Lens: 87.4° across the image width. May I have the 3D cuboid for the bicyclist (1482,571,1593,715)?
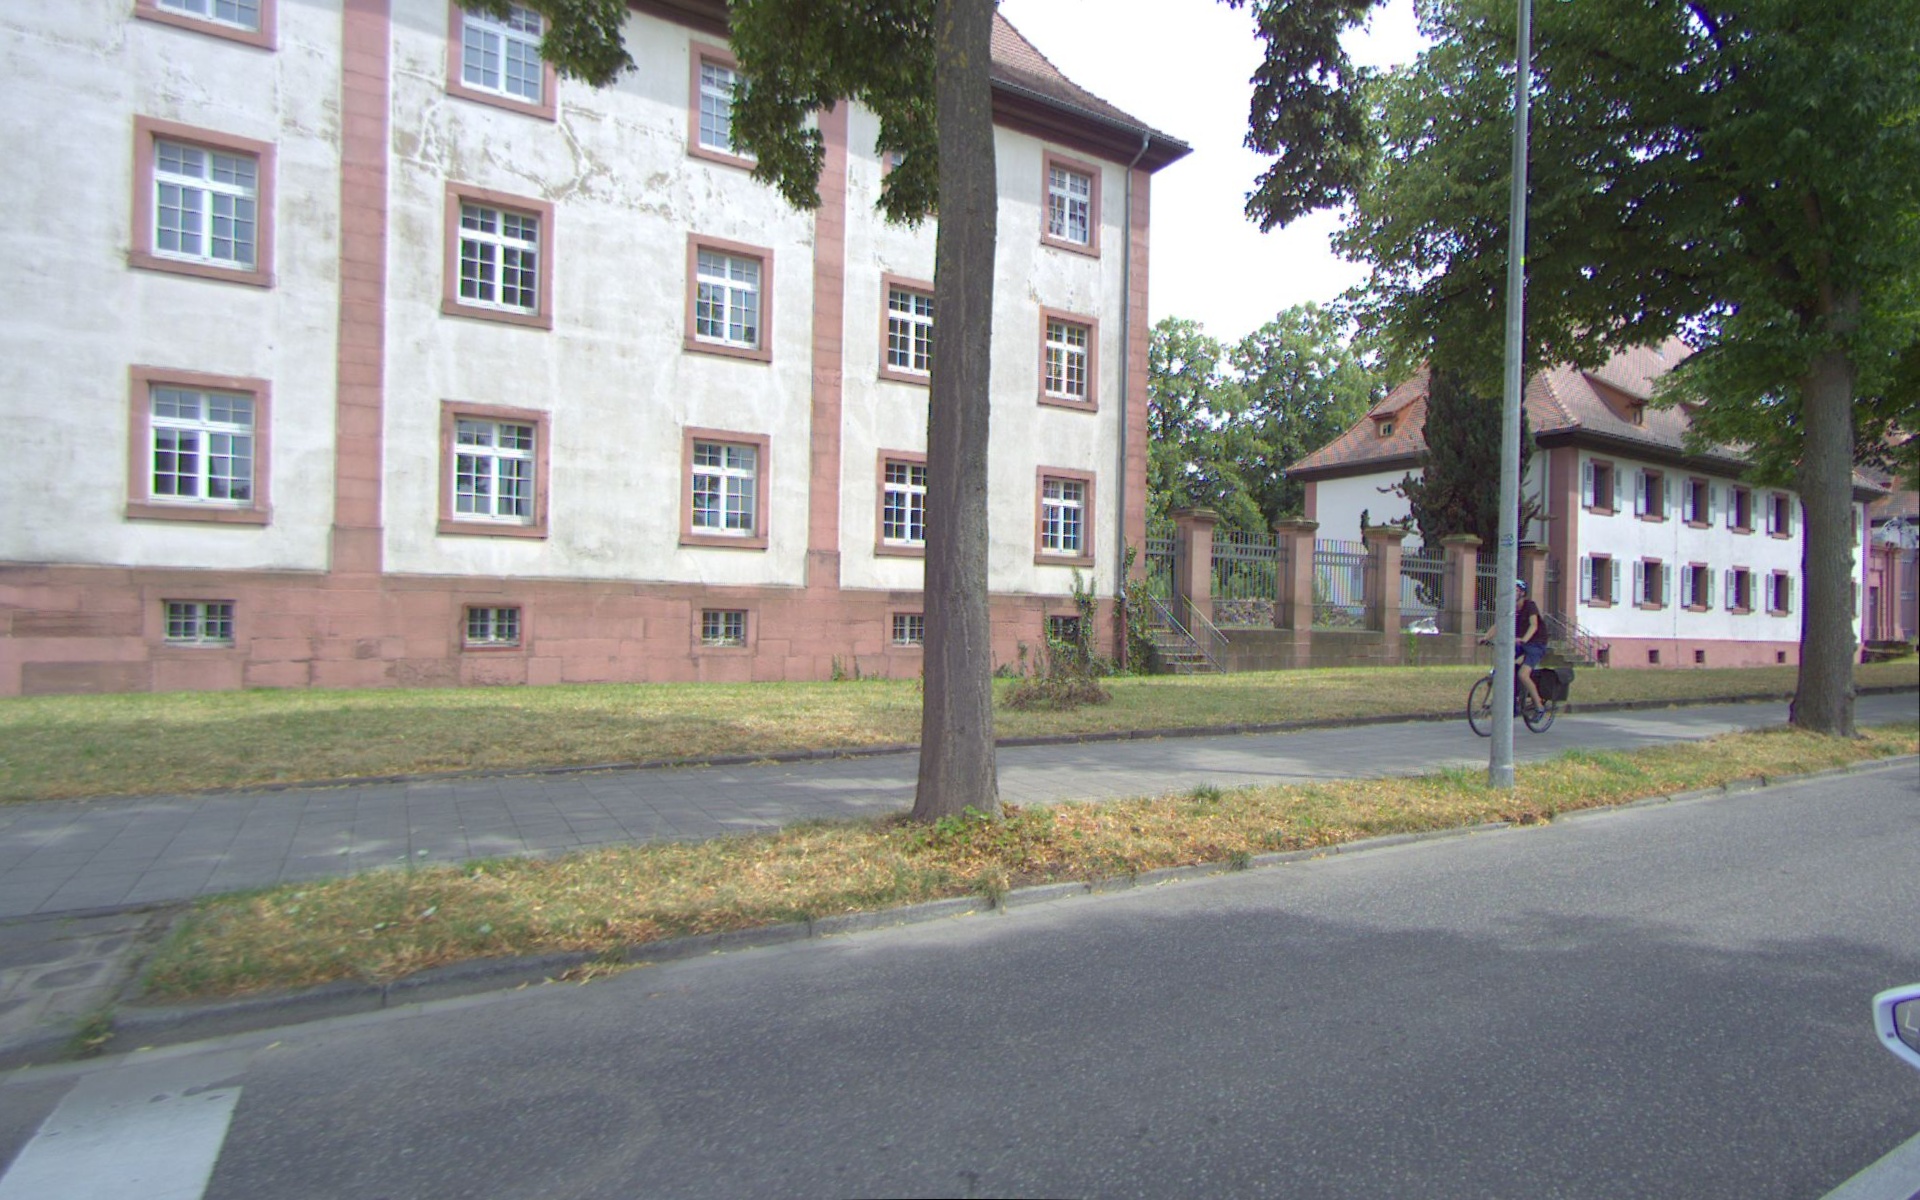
[{"bbox_3d":[7.116,0.511,12.397,0.947,1.678,0.719,1,3,-30],"label":"bicyclist"}]

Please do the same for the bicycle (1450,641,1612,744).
[{"bbox_3d":[7.063,1.098,12.402,2.126,1.110,0.719,1,3,-30],"label":"bicycle"}]
